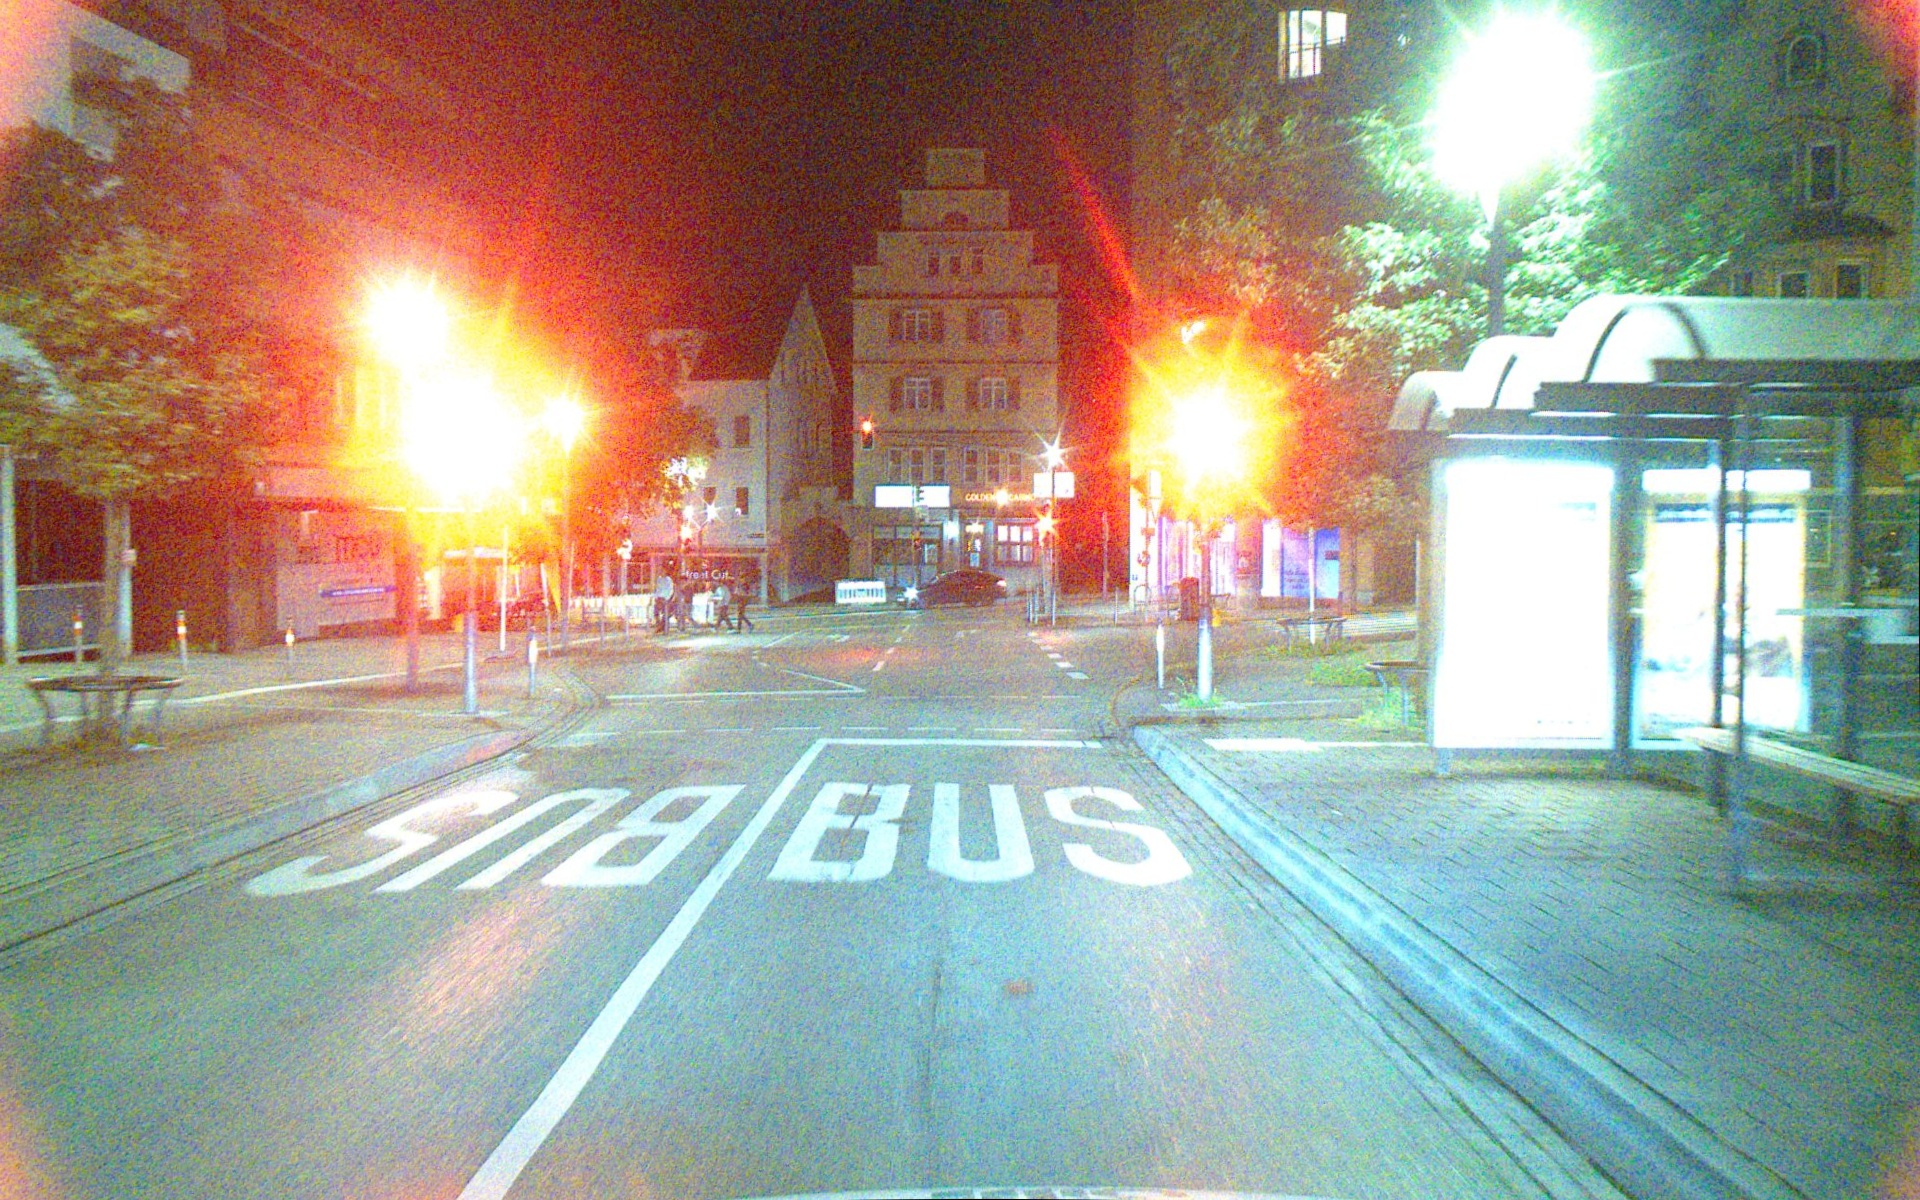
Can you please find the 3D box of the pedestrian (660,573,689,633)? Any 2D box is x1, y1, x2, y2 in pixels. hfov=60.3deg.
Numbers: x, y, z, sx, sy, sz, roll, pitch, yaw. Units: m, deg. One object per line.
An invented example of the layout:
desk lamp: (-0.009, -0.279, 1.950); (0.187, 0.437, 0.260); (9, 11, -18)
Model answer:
pedestrian: (-8.742, 0.105, 50.626); (0.700, 1.827, 0.570); (1, -1, 6)

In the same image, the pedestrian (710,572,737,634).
pedestrian: (-7.032, 0.097, 49.204); (0.561, 1.827, 0.711); (2, -1, -29)

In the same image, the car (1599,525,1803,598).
car: (17.336, -0.896, 38.848); (3.956, 1.478, 1.827); (-3, 1, 6)

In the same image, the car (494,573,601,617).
car: (-16.379, -0.201, 65.679); (3.673, 1.646, 1.835); (1, -1, 18)

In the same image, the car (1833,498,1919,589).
car: (22.223, -1.245, 36.802); (4.748, 1.943, 2.151); (0, -1, 35)

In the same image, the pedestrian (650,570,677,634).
pedestrian: (-8.465, 0.060, 47.219); (0.703, 1.827, 0.568); (1, -1, -12)

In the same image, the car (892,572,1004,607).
car: (-0.484, -0.423, 68.132); (4.363, 1.320, 1.627); (1, -1, -26)

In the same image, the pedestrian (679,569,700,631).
pedestrian: (-8.031, 0.007, 49.103); (0.556, 1.827, 0.717); (1, -1, -6)

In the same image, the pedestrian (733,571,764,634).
pedestrian: (-6.237, 0.068, 48.748); (0.724, 1.827, 0.714); (1, -1, -21)
